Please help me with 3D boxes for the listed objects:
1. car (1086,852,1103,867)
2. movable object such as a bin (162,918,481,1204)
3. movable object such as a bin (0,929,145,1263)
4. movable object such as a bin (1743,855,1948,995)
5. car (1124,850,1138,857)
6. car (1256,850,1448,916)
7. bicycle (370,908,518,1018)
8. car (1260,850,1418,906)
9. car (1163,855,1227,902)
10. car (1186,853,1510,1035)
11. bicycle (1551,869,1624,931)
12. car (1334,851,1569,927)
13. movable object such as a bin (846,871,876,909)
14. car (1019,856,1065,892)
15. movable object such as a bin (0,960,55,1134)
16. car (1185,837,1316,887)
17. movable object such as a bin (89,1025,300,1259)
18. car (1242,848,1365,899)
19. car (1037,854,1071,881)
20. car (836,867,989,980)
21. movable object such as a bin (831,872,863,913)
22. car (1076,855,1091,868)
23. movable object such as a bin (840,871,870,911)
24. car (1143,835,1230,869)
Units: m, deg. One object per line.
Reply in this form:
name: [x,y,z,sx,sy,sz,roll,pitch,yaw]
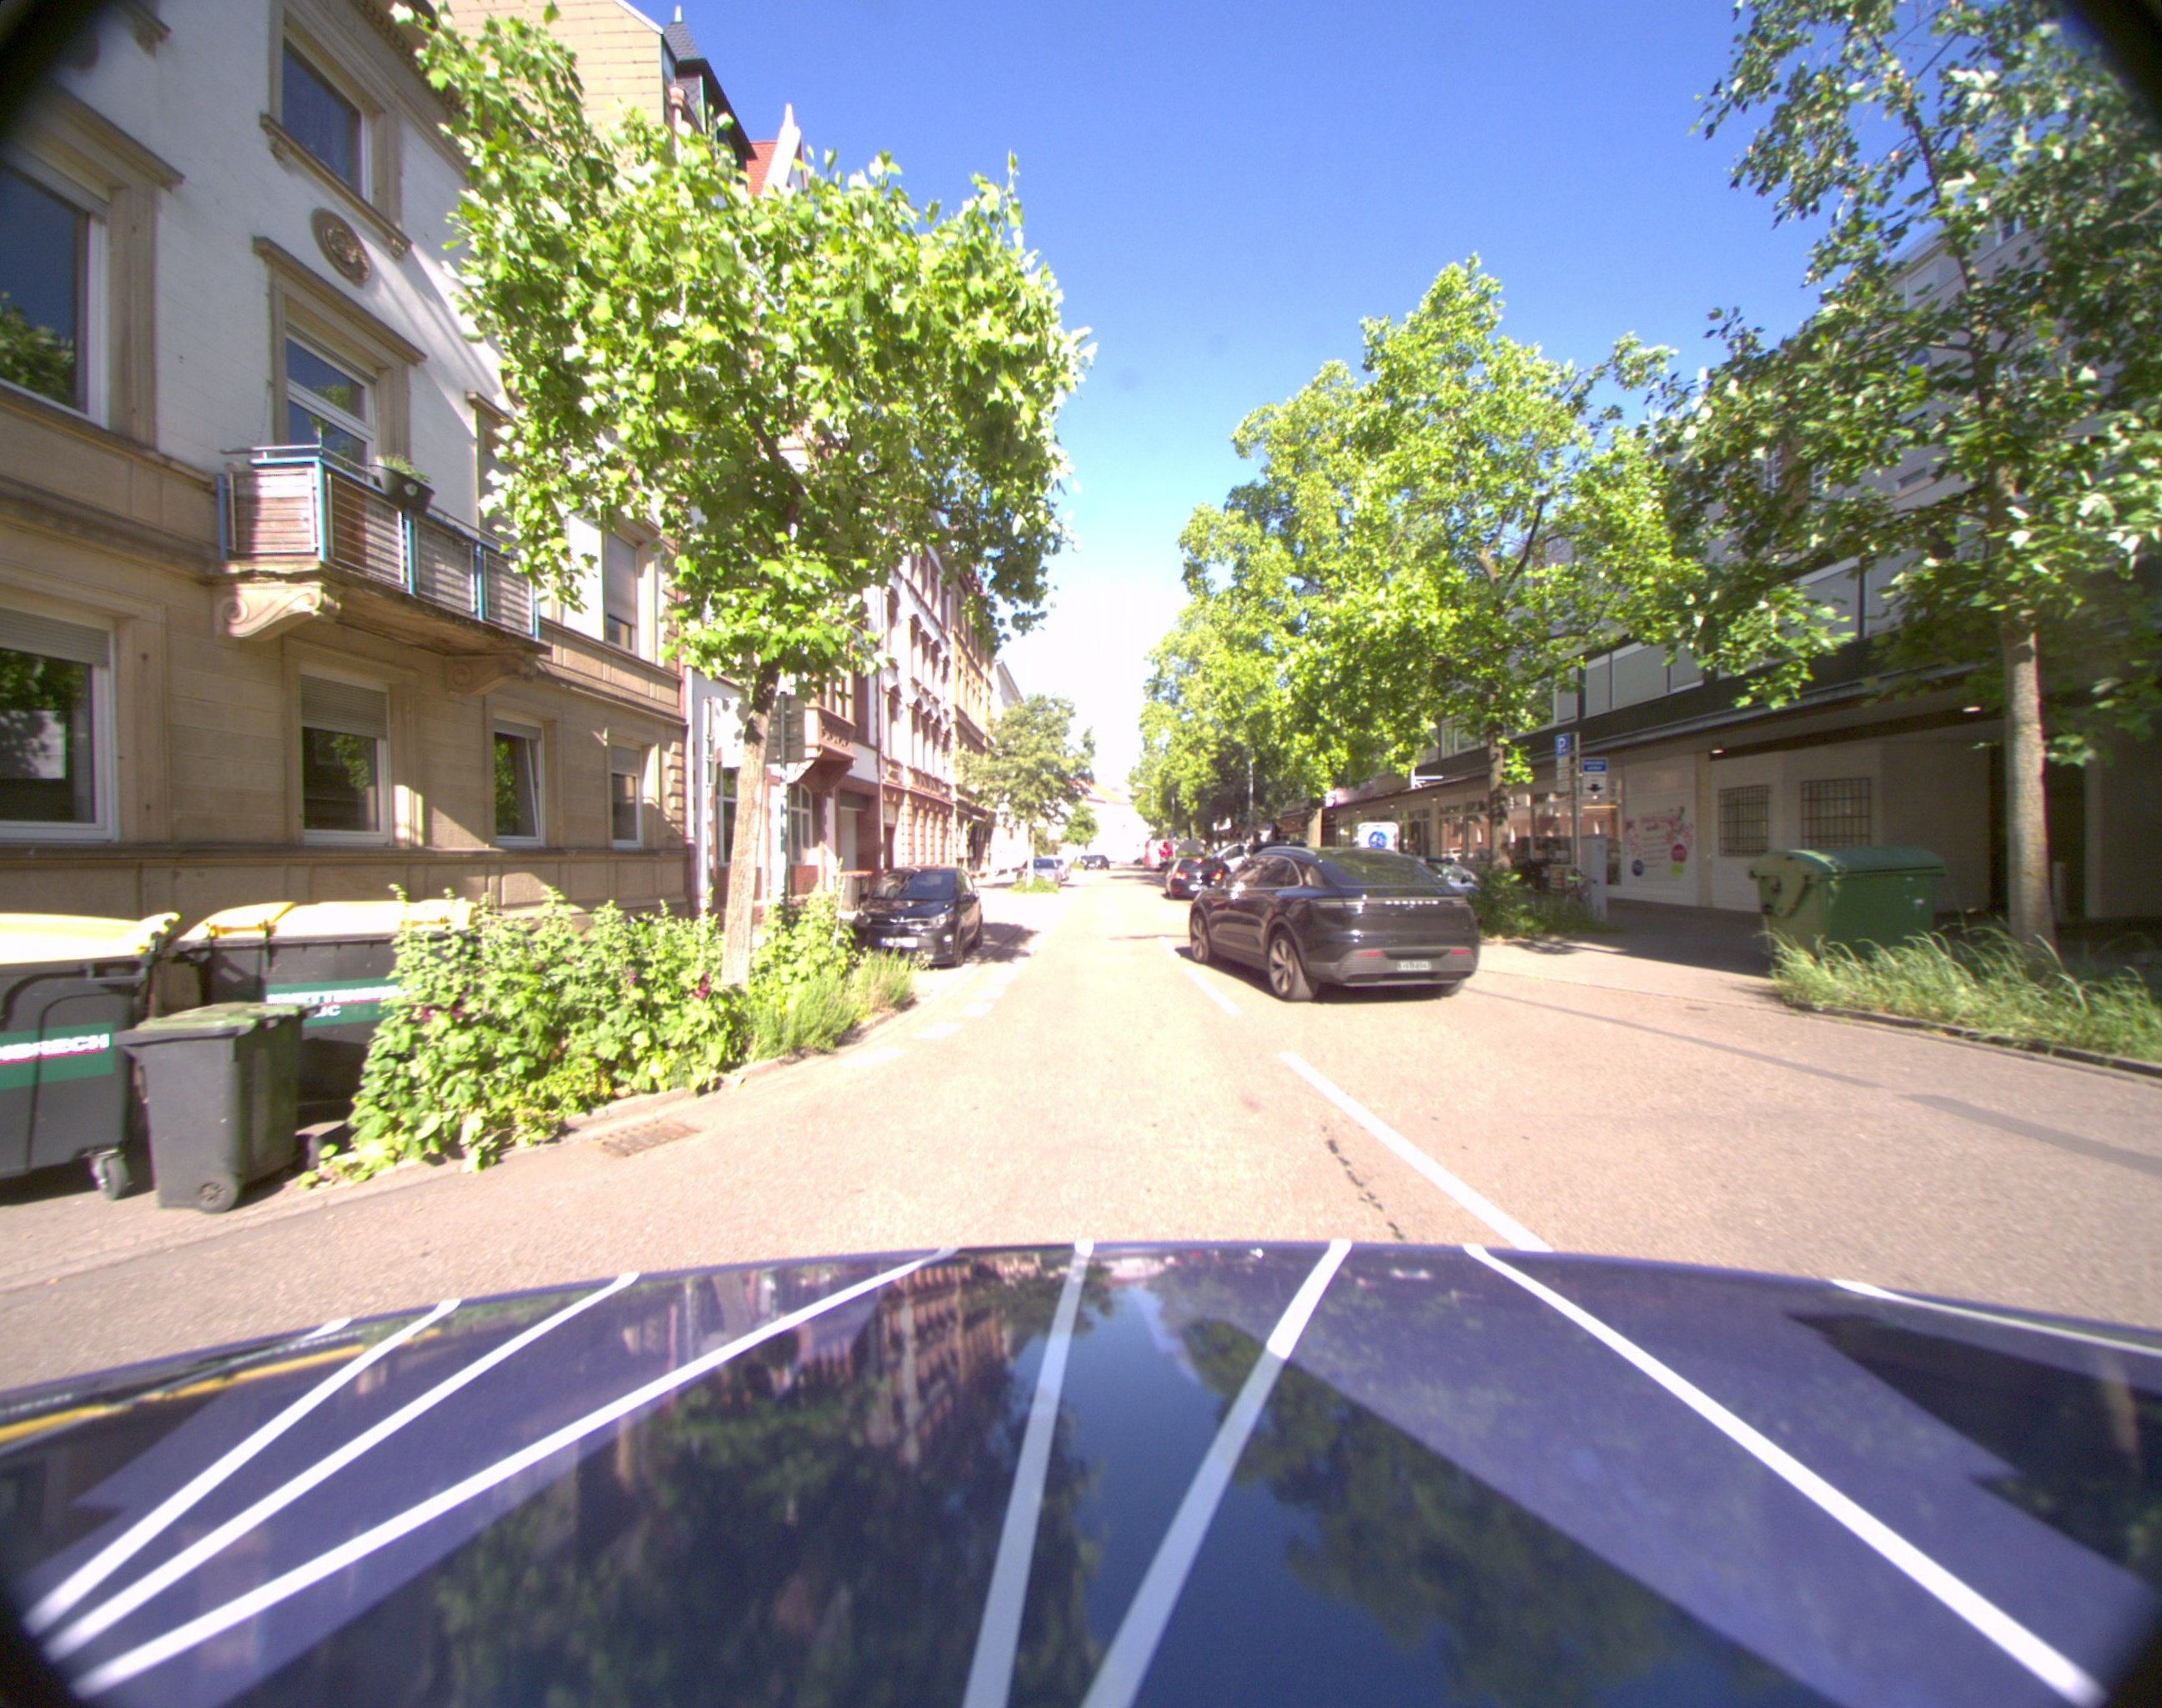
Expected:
car: [1.342,0.514,75.070,1.612,1.444,3.295,-1,0,1]
movable object such as a bin: [-4.620,1.145,4.779,1.274,1.340,1.105,-1,1,-40]
movable object such as a bin: [-5.241,1.108,3.501,1.038,1.340,1.111,2,3,41]
movable object such as a bin: [8.520,0.753,8.553,1.232,1.442,1.076,-1,1,10]
car: [9.837,-0.126,150.537,1.632,1.412,3.299,-1,0,25]
car: [6.848,0.719,19.575,4.314,1.452,1.762,-2,1,4]
bicycle: [-7.194,1.188,8.661,0.433,1.025,1.428,2,1,1]
car: [7.494,0.666,22.328,3.998,1.455,1.812,-2,1,-3]
car: [3.885,0.792,26.507,1.767,1.430,3.960,0,1,2]
car: [2.796,0.815,9.195,1.873,1.604,4.424,-1,0,-8]
bicycle: [9.515,0.842,14.325,0.467,1.072,1.343,-1,1,-1]
car: [7.984,0.735,16.664,4.315,1.425,1.644,-2,1,2]
movable object such as a bin: [-6.325,1.024,21.869,0.639,1.063,0.639,-1,1,2]
car: [-1.730,0.865,34.700,1.743,1.443,4.307,-1,0,1]
movable object such as a bin: [-6.932,1.203,4.624,0.599,1.036,0.546,-1,1,1]
car: [7.390,0.328,33.480,5.305,1.963,2.015,-2,1,2]
movable object such as a bin: [-4.250,1.353,3.676,0.443,0.924,0.471,-1,1,-11]
car: [7.413,0.619,25.516,3.608,1.543,1.683,-2,1,-3]
car: [-1.551,0.759,44.541,1.743,1.443,4.000,-1,0,1]
car: [-2.530,0.985,12.250,1.639,1.467,3.580,0,1,0]
movable object such as a bin: [-6.370,1.035,20.714,0.639,1.063,0.632,-1,1,2]
car: [0.325,0.941,94.811,1.720,1.445,4.000,0,1,3]
movable object such as a bin: [-6.334,1.031,21.285,0.639,1.063,0.521,-1,1,2]
car: [8.414,-0.180,60.690,6.606,2.459,1.997,-2,1,-14]
